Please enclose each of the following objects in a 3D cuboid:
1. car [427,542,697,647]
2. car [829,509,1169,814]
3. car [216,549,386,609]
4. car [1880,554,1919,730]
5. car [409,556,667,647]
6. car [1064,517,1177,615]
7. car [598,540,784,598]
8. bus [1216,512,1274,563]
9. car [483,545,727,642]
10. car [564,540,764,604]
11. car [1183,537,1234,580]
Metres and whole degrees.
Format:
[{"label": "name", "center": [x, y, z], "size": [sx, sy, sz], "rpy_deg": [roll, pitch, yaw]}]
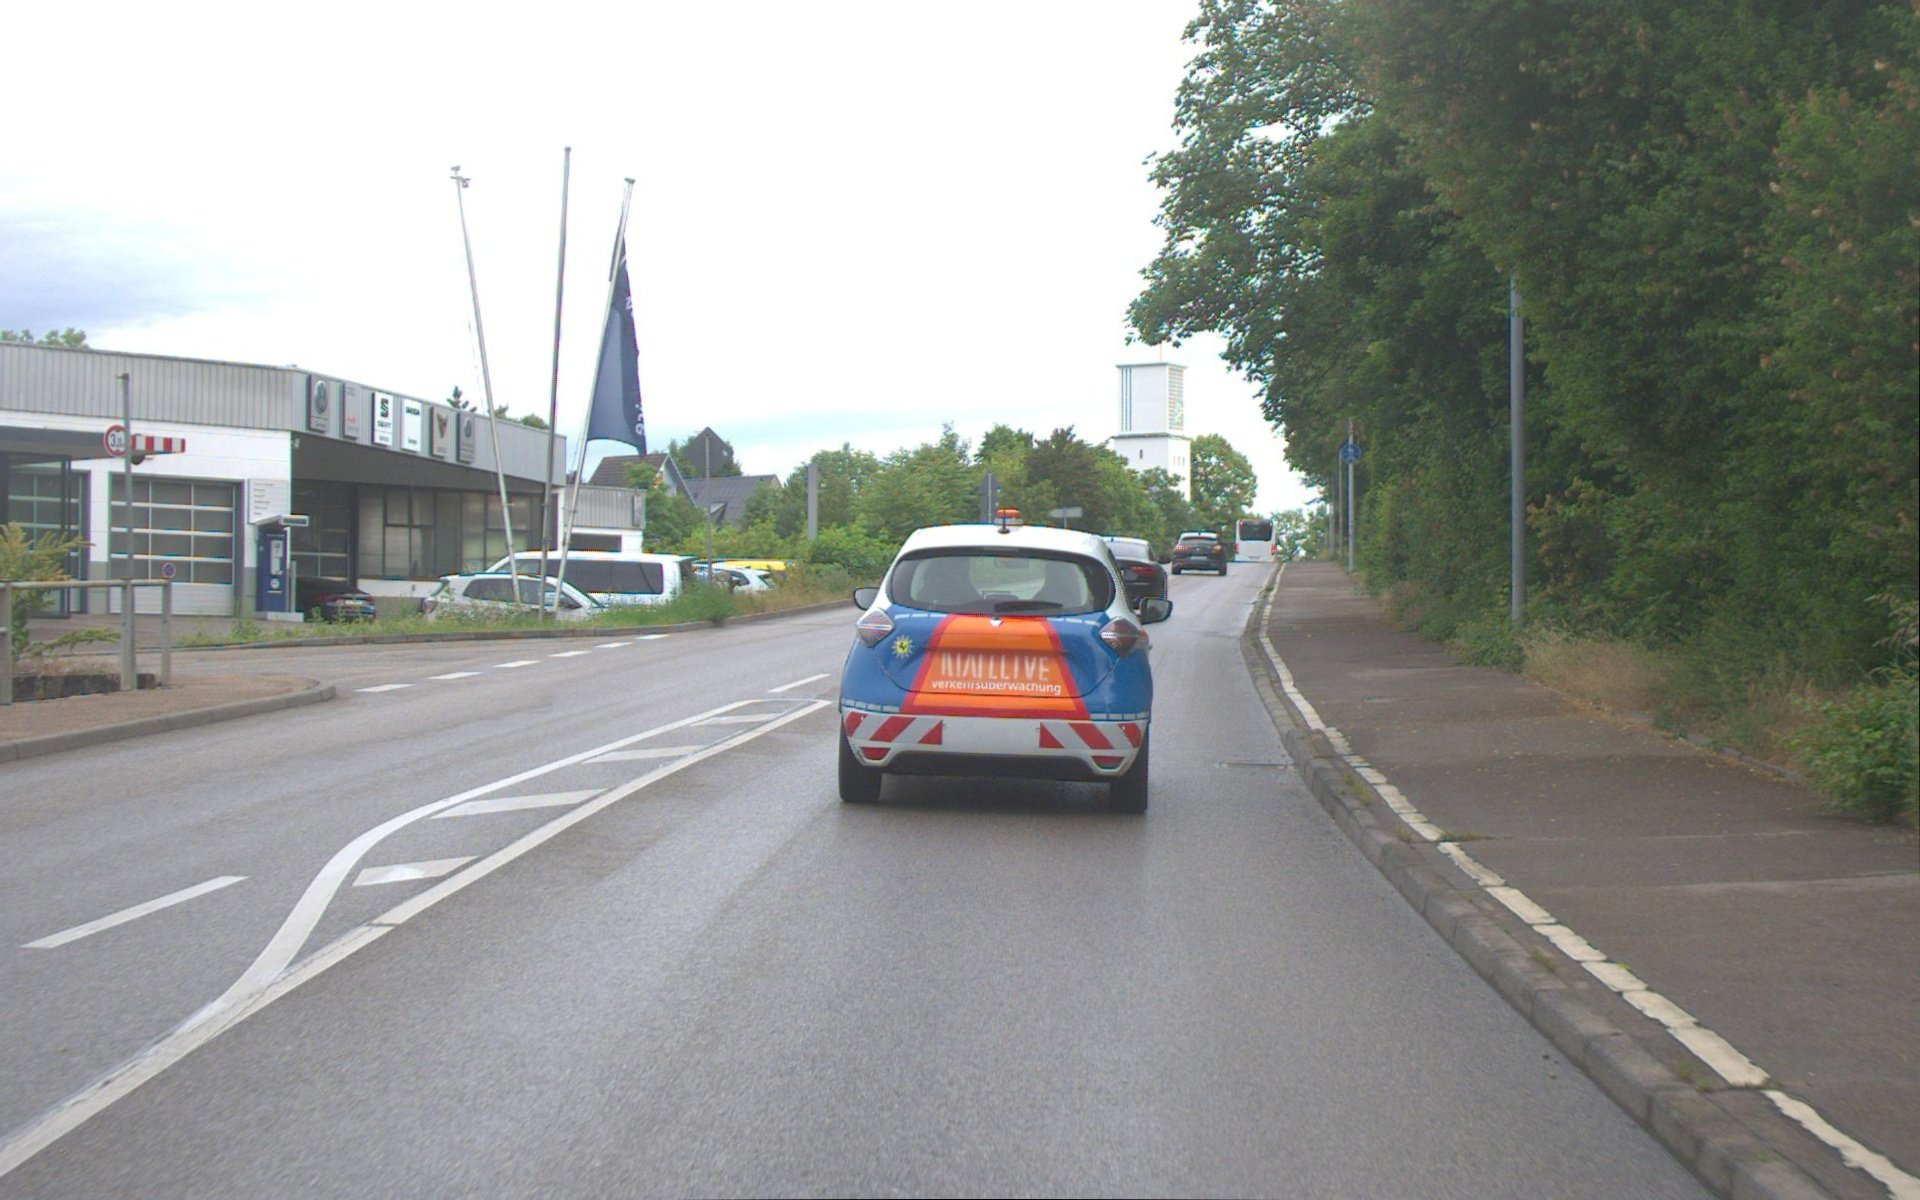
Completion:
[{"label": "car", "center": [-6.950, -0.108, 60.353], "size": [4.413, 1.791, 1.934], "rpy_deg": [0, 1, 4]}, {"label": "car", "center": [0.310, 0.324, 19.913], "size": [1.658, 1.587, 3.567], "rpy_deg": [1, 0, 6]}, {"label": "car", "center": [-16.134, -0.535, 84.046], "size": [4.018, 1.411, 1.949], "rpy_deg": [1, 2, 39]}, {"label": "car", "center": [9.111, 0.321, 27.323], "size": [3.141, 1.379, 1.695], "rpy_deg": [-1, 1, -26]}, {"label": "car", "center": [-7.060, 0.015, 57.755], "size": [4.009, 1.473, 1.824], "rpy_deg": [0, 1, 4]}, {"label": "car", "center": [2.698, -0.573, 58.588], "size": [1.802, 1.584, 3.563], "rpy_deg": [-1, 0, 1]}, {"label": "car", "center": [-6.152, -0.724, 78.953], "size": [4.063, 1.286, 1.804], "rpy_deg": [0, 1, 2]}, {"label": "bus", "center": [18.534, -4.060, 224.172], "size": [2.910, 3.159, 11.466], "rpy_deg": [-1, 0, 0]}, {"label": "car", "center": [-6.776, -0.132, 66.010], "size": [4.412, 1.791, 2.002], "rpy_deg": [0, 1, 2]}, {"label": "car", "center": [-6.546, -0.633, 76.337], "size": [4.226, 1.364, 1.875], "rpy_deg": [0, 1, 2]}, {"label": "car", "center": [8.340, -1.394, 115.672], "size": [1.614, 1.402, 3.497], "rpy_deg": [-1, 0, 3]}]
